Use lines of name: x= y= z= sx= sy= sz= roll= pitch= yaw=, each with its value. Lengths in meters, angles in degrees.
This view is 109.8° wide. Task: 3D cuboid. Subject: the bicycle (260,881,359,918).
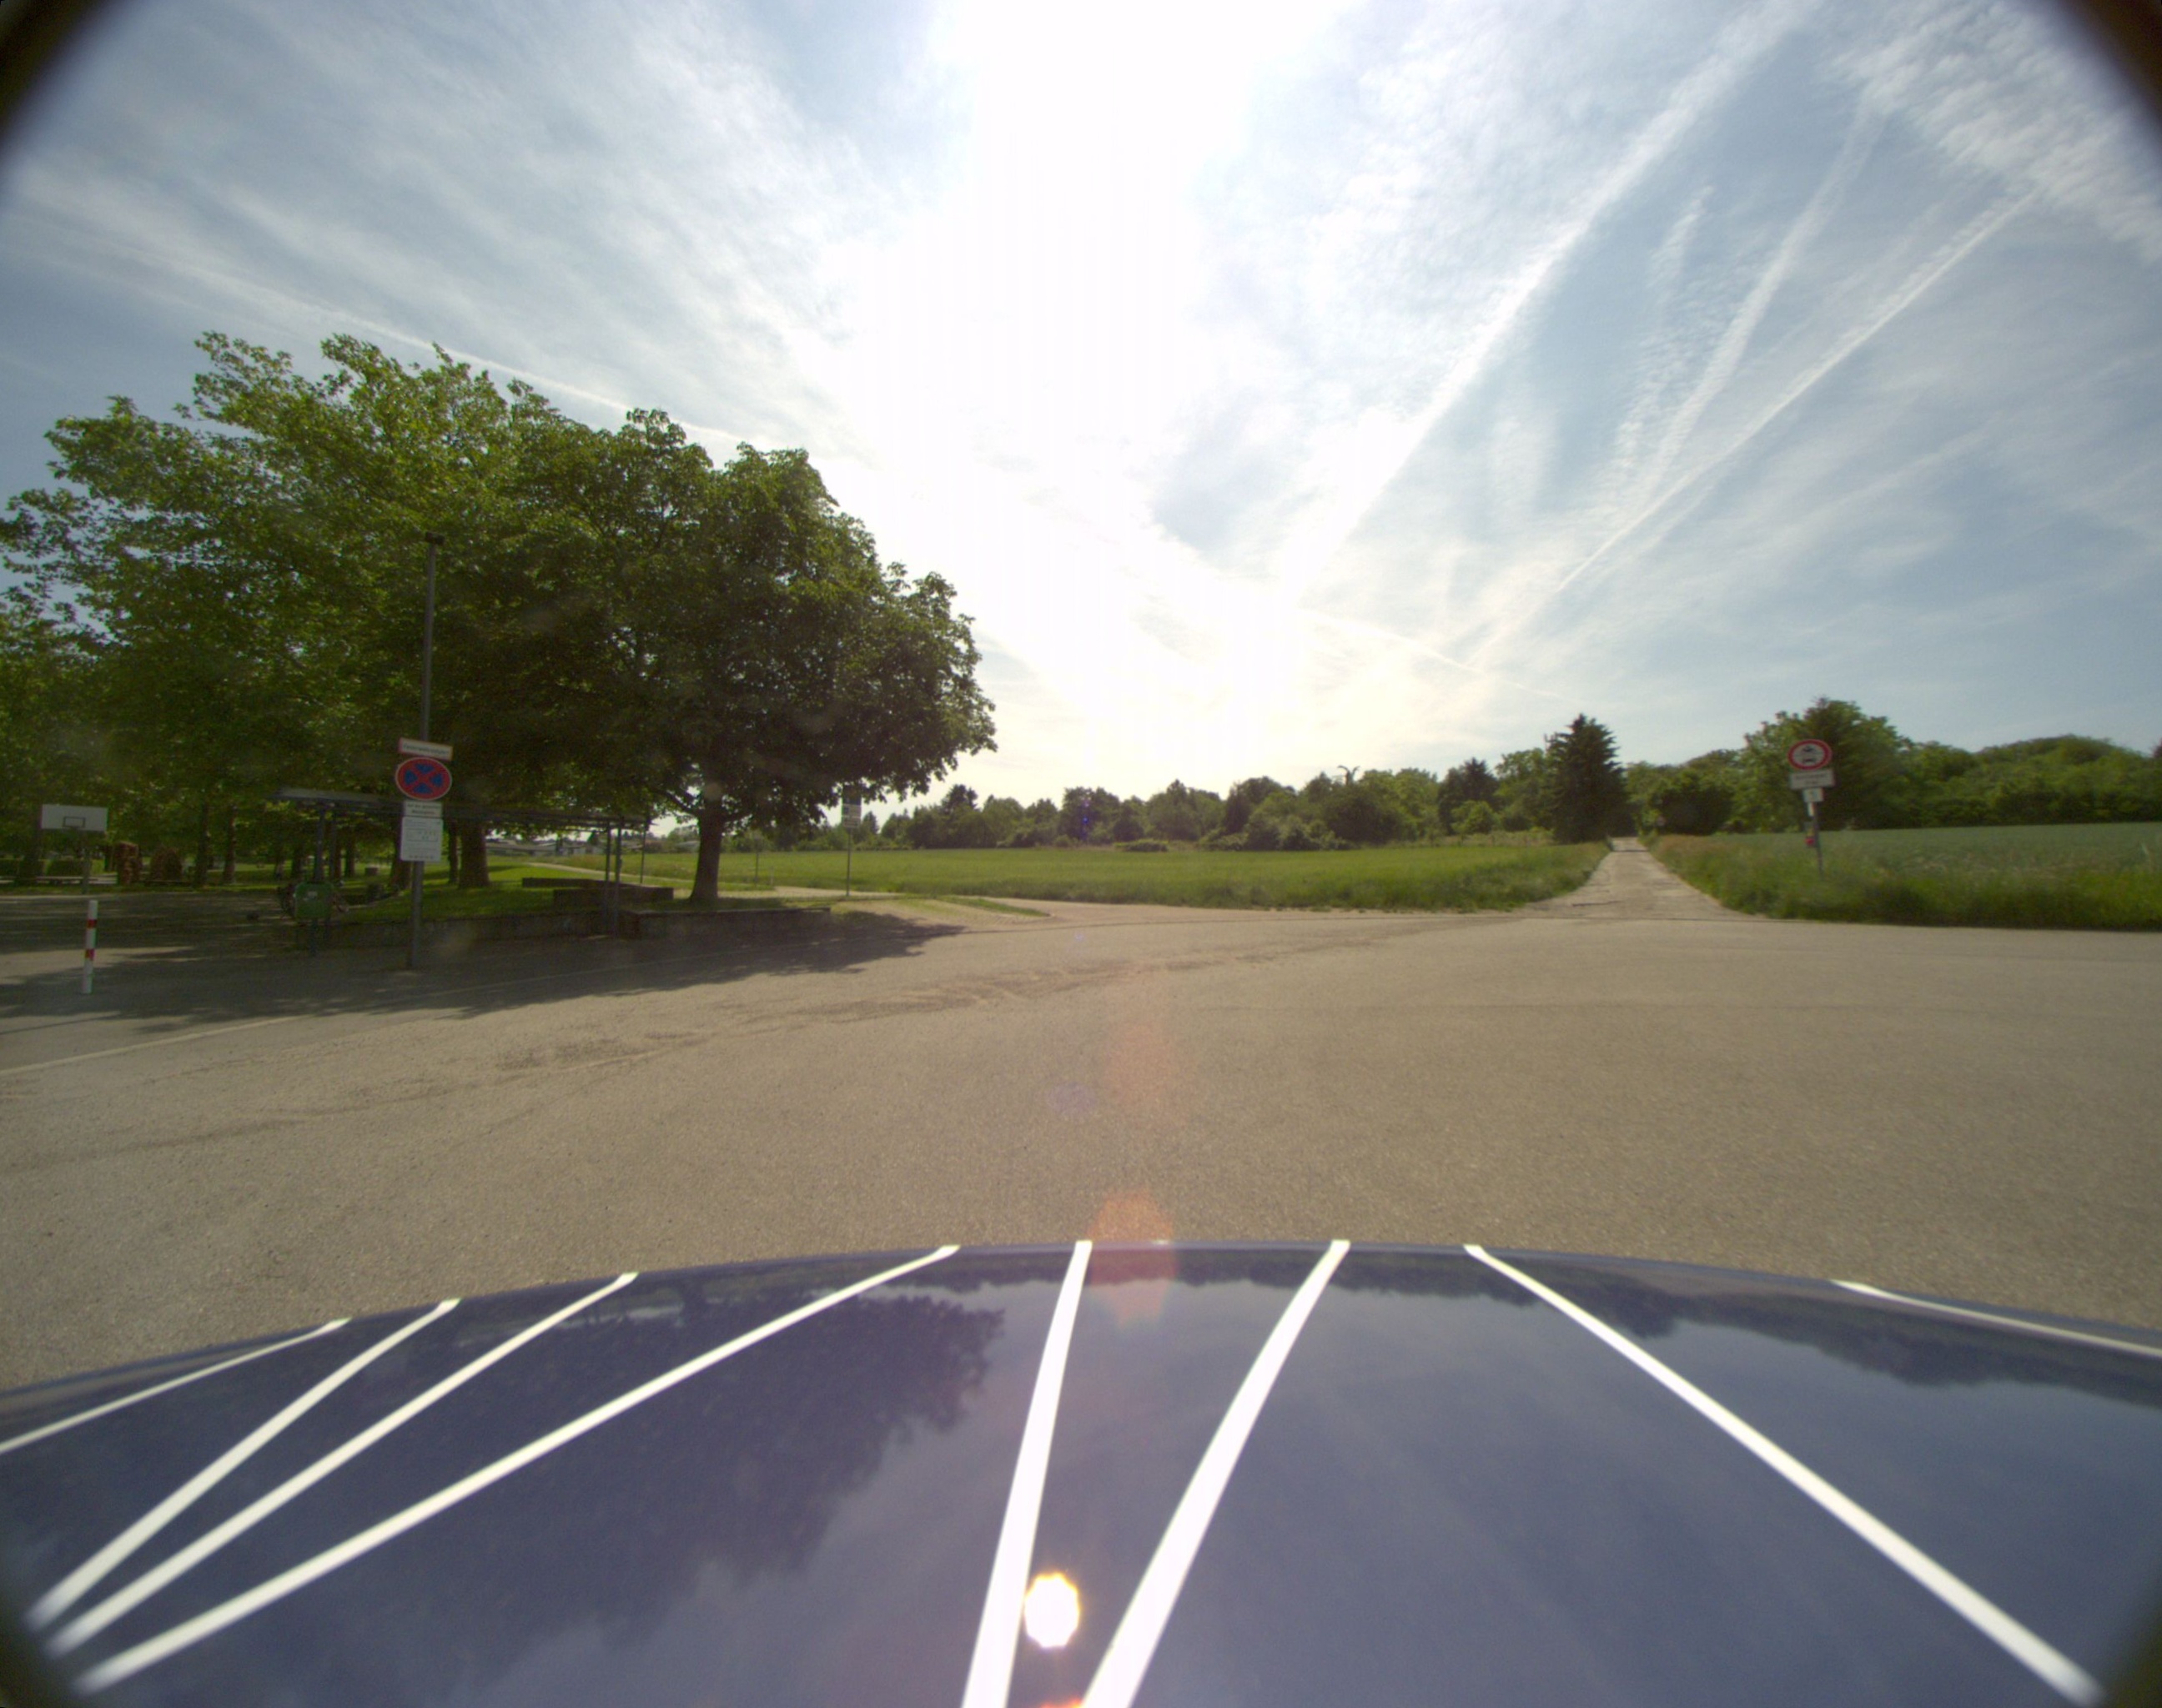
bicycle: x=-23.677 y=1.365 z=23.359 sx=0.570 sy=1.033 sz=2.073 roll=-1 pitch=-1 yaw=34

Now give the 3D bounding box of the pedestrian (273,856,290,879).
pedestrian: x=-70.671 y=1.165 z=67.153 sx=0.690 sy=2.001 sz=0.837 roll=0 pitch=-2 yaw=26

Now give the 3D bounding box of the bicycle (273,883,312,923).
bicycle: x=-22.242 y=1.368 z=21.467 sx=0.598 sy=1.033 sz=1.887 roll=0 pitch=-1 yaw=-41
